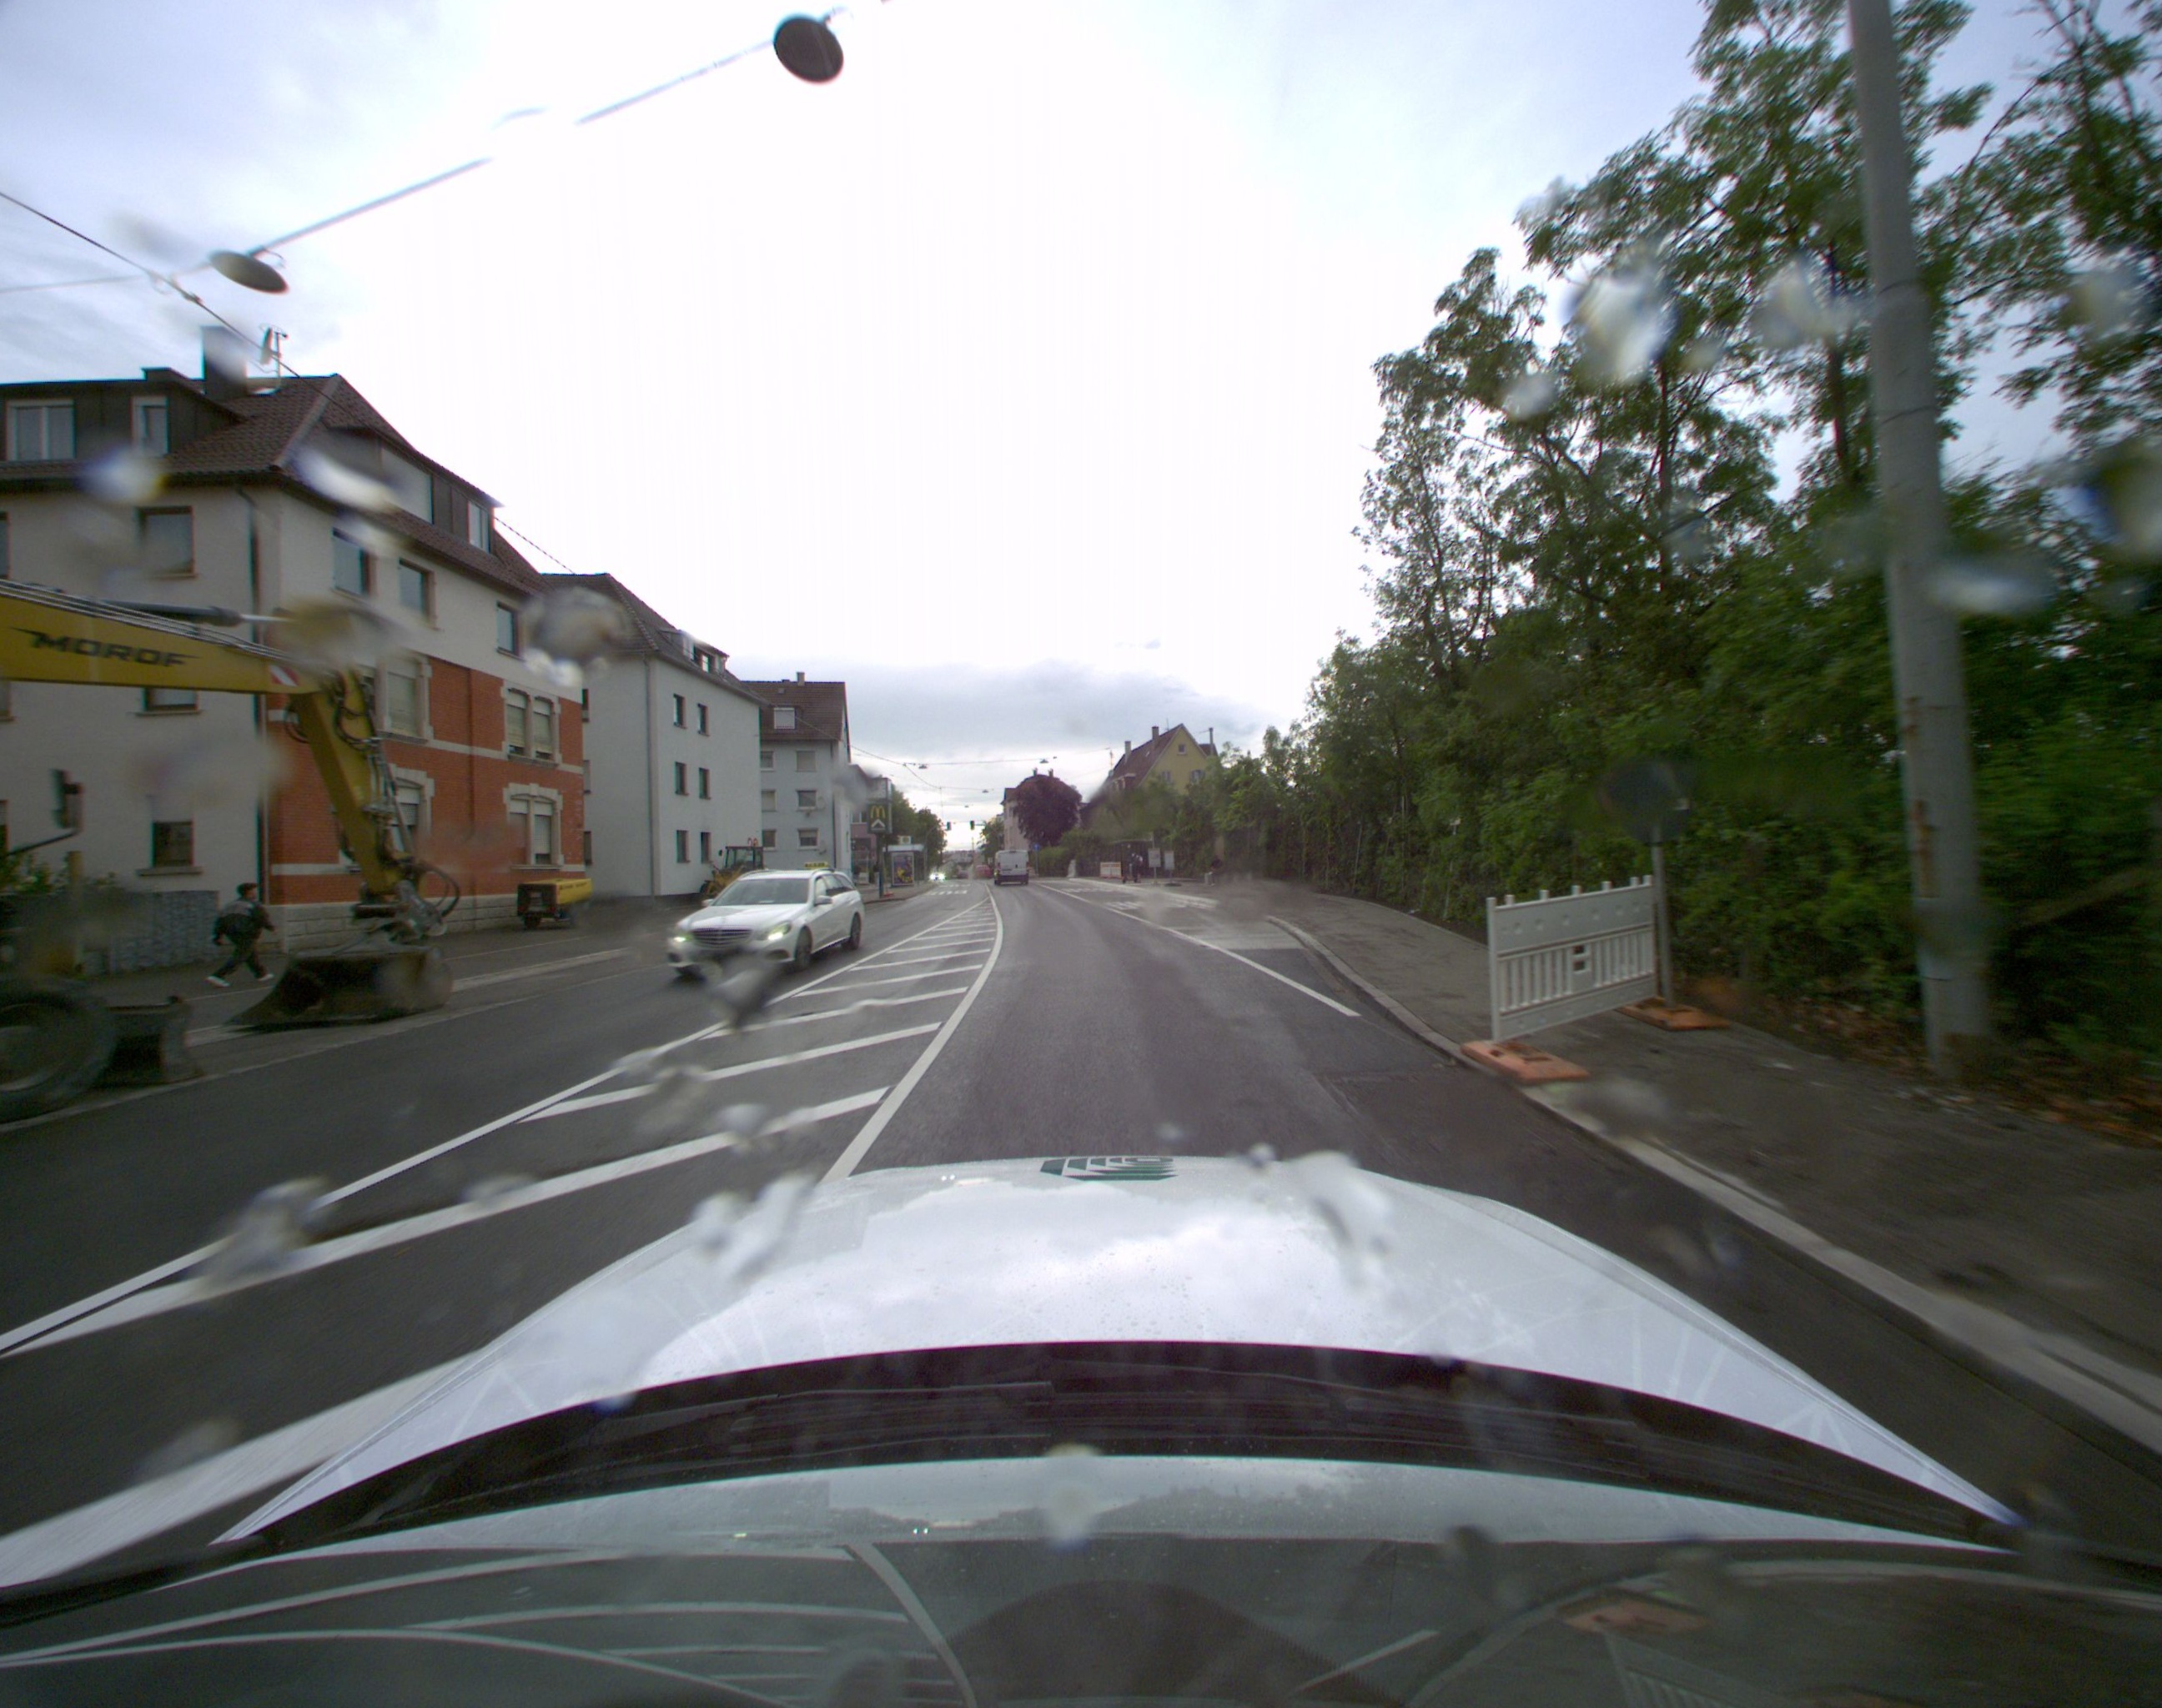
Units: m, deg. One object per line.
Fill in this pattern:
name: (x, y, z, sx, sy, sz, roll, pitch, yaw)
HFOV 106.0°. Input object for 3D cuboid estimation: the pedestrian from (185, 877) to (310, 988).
pedestrian: (-12.972, 1.190, 12.716, 0.761, 1.588, 1.092, -1, 1, 1)

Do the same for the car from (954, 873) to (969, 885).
car: (-18.668, 3.858, 127.026, 2.238, 1.804, 4.697, -2, 0, -10)

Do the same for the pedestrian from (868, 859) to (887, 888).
pedestrian: (-14.955, 1.433, 59.965, 1.206, 2.013, 1.049, -1, 1, -8)

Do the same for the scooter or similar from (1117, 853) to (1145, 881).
scooter or similar: (2.722, 0.703, 44.171, 1.565, 1.406, 0.491, -4, 3, -43)

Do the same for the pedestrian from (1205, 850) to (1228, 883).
pedestrian: (5.917, 0.524, 35.492, 0.875, 1.367, 1.066, -1, 1, 3)

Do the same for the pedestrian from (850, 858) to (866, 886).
pedestrian: (-16.730, 1.359, 61.191, 1.081, 2.013, 1.047, -1, 1, -14)

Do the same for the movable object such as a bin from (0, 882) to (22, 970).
movable object such as a bin: (-17.888, 1.185, 12.913, 0.851, 1.411, 0.956, -1, 1, -4)

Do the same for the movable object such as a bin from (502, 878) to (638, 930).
movable object such as a bin: (-14.901, 1.409, 24.000, 1.549, 1.355, 3.997, -1, -1, -2)

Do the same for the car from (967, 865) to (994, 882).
car: (-10.498, 1.959, 84.852, 2.241, 1.657, 4.689, -2, 0, -15)

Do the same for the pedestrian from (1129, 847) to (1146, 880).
pedestrian: (3.061, 0.514, 44.262, 0.901, 1.731, 0.654, -1, 1, 4)

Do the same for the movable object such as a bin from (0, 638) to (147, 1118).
movable object such as a bin: (-8.635, 0.209, 4.128, 2.860, 3.172, 4.128, -1, 1, 2)

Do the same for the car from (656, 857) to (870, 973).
car: (-4.944, 0.875, 13.447, 1.924, 1.556, 4.614, -1, -1, -3)

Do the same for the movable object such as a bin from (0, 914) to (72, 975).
movable object such as a bin: (-16.980, 1.456, 13.133, 0.632, 0.898, 0.574, -1, 1, -4)

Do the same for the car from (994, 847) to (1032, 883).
car: (-4.572, 0.741, 54.218, 2.236, 2.213, 4.700, -2, 0, -8)

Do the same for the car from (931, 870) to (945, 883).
car: (-22.745, 3.604, 129.385, 1.992, 1.793, 3.990, -1, 2, -8)

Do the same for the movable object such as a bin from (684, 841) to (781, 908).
movable object such as a bin: (-15.032, 0.799, 35.475, 1.985, 2.682, 4.632, -1, 1, 3)
